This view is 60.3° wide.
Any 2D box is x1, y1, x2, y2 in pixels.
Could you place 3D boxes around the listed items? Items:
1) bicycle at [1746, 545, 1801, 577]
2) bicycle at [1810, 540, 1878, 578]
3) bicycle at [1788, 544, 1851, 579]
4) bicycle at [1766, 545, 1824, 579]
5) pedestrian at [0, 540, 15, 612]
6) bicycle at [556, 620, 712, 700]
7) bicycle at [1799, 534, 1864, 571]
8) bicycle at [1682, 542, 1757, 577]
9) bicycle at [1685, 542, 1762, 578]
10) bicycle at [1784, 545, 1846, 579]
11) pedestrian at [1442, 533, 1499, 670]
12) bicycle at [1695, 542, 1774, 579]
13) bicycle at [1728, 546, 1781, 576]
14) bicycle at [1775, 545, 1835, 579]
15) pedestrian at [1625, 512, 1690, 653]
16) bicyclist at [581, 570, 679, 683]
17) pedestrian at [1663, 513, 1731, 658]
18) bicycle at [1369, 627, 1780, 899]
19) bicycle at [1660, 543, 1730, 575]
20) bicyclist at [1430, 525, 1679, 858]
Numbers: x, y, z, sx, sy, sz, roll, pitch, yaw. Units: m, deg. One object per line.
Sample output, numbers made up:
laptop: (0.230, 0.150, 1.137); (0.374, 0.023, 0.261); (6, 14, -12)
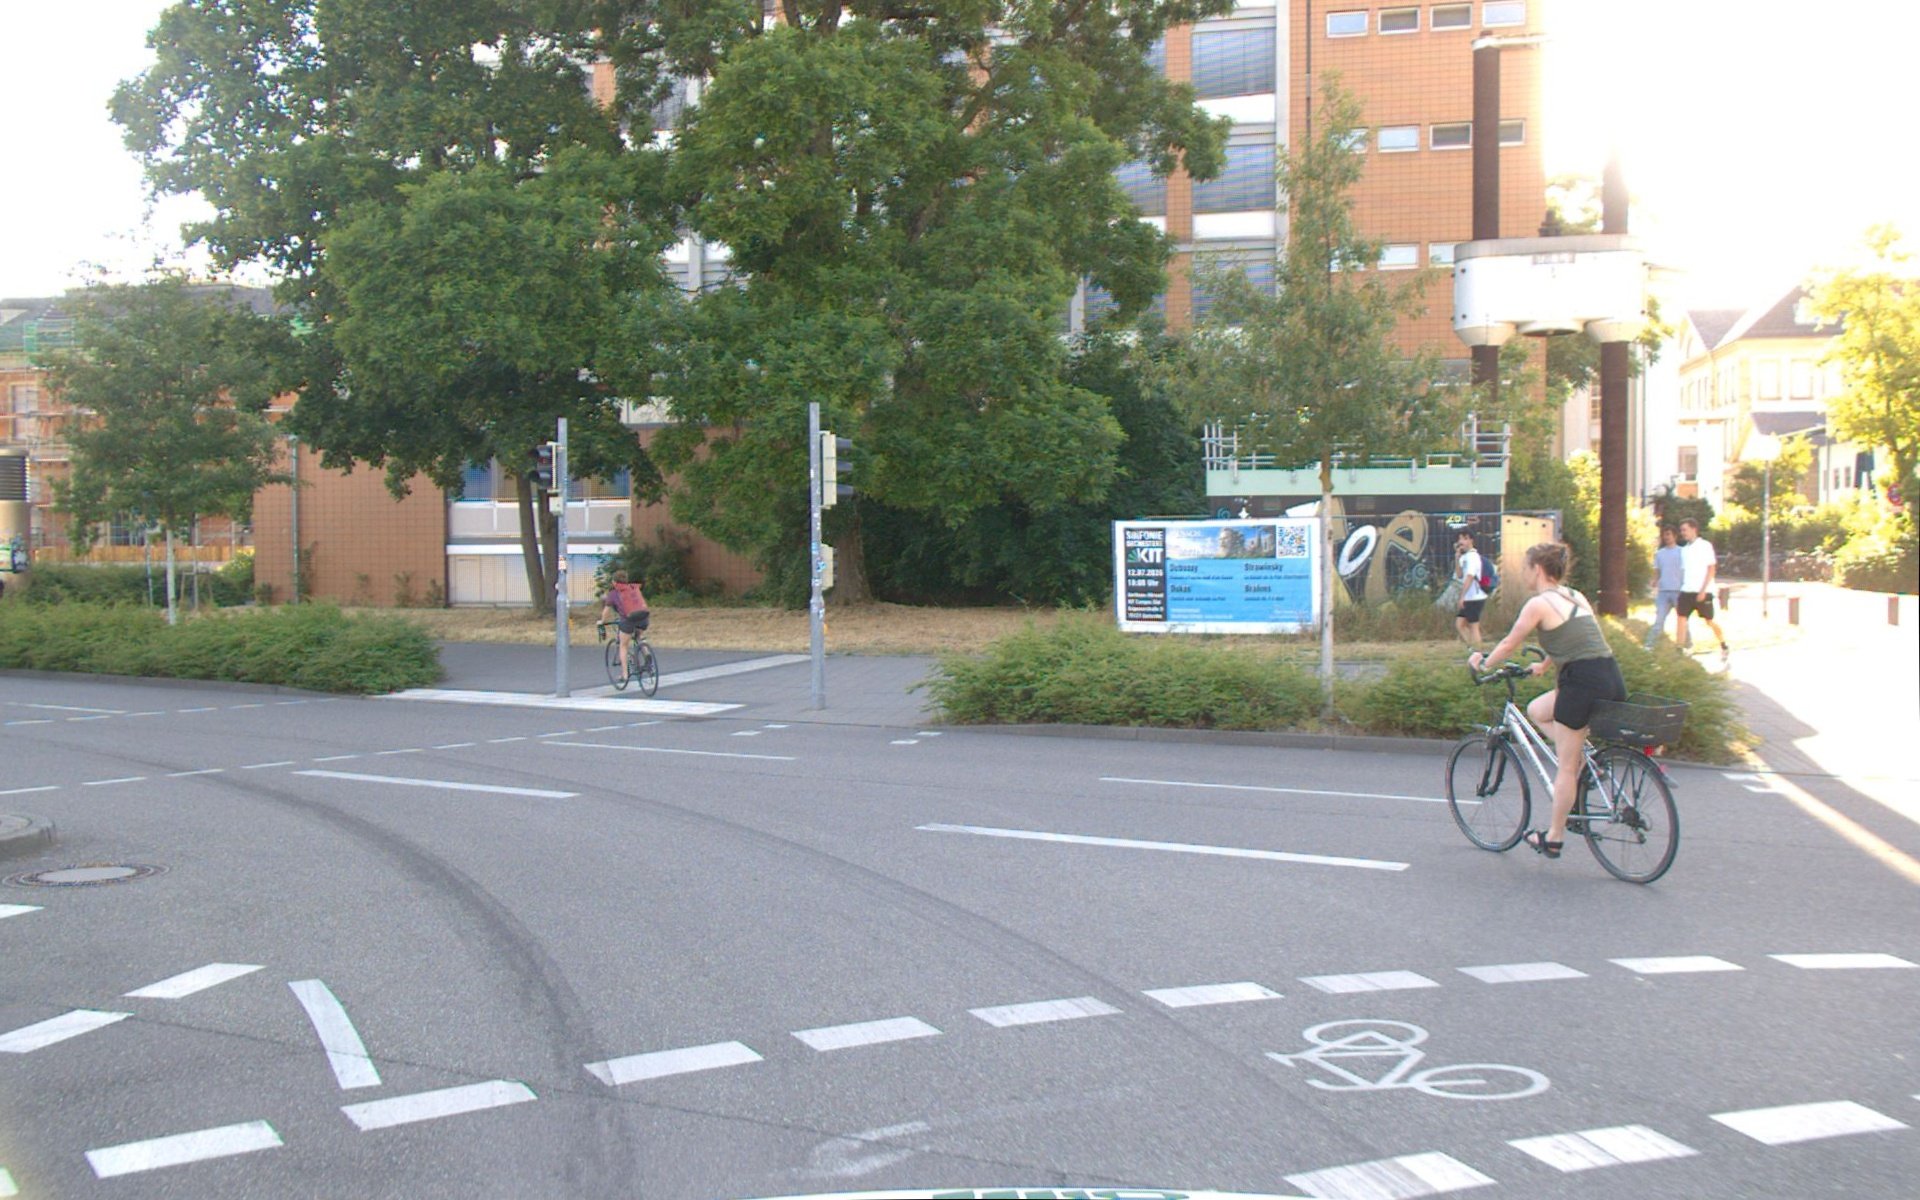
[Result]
bicycle: (30.097, -1.432, 61.206); (1.756, 1.127, 0.500); (2, 2, 16)
bicycle: (27.614, -1.282, 51.685); (1.756, 1.127, 0.500); (2, 2, 16)
bicycle: (28.653, -1.294, 55.160); (1.756, 1.127, 0.500); (2, 2, 16)
bicycle: (29.670, -1.354, 58.792); (1.756, 1.127, 0.500); (2, 2, 16)
pedestrian: (-22.870, -0.555, 38.872); (0.773, 1.687, 0.806); (1, 4, 33)
bicycle: (-4.218, 0.753, 21.292); (2.206, 0.969, 0.719); (-1, 0, 39)
bicycle: (28.192, -1.539, 53.528); (1.756, 1.127, 0.500); (2, 2, 16)
bicycle: (32.227, -1.710, 70.213); (2.811, 1.405, 0.683); (2, 2, 16)
bicycle: (32.013, -1.684, 69.370); (2.811, 1.405, 0.683); (2, 2, 16)
bicycle: (28.913, -1.290, 55.926); (1.756, 1.127, 0.500); (2, 2, 16)
pedestrian: (6.557, 0.006, 21.228); (0.616, 1.728, 0.622); (0, 2, 25)
bicycle: (31.534, -1.623, 67.386); (2.811, 1.405, 0.683); (2, 2, 16)
bicycle: (30.622, -1.514, 63.777); (1.756, 1.127, 0.500); (2, 2, 16)
bicycle: (29.314, -1.311, 57.373); (1.756, 1.127, 0.500); (2, 2, 16)
pedestrian: (9.559, -0.244, 22.676); (0.567, 1.902, 0.618); (-1, 2, -23)
bicyclist: (-4.255, 0.333, 21.313); (1.055, 1.408, 0.719); (-1, 0, 38)
pedestrian: (9.815, -0.202, 22.042); (0.567, 1.902, 0.618); (-1, 2, -23)
bicycle: (3.271, 0.801, 9.108); (0.768, 1.176, 2.274); (-1, 2, -24)
bicycle: (33.519, -1.869, 75.430); (2.811, 1.405, 0.683); (2, 2, 16)
bicyclist: (3.253, 0.446, 9.127); (0.768, 1.706, 1.085); (-1, 2, -24)
